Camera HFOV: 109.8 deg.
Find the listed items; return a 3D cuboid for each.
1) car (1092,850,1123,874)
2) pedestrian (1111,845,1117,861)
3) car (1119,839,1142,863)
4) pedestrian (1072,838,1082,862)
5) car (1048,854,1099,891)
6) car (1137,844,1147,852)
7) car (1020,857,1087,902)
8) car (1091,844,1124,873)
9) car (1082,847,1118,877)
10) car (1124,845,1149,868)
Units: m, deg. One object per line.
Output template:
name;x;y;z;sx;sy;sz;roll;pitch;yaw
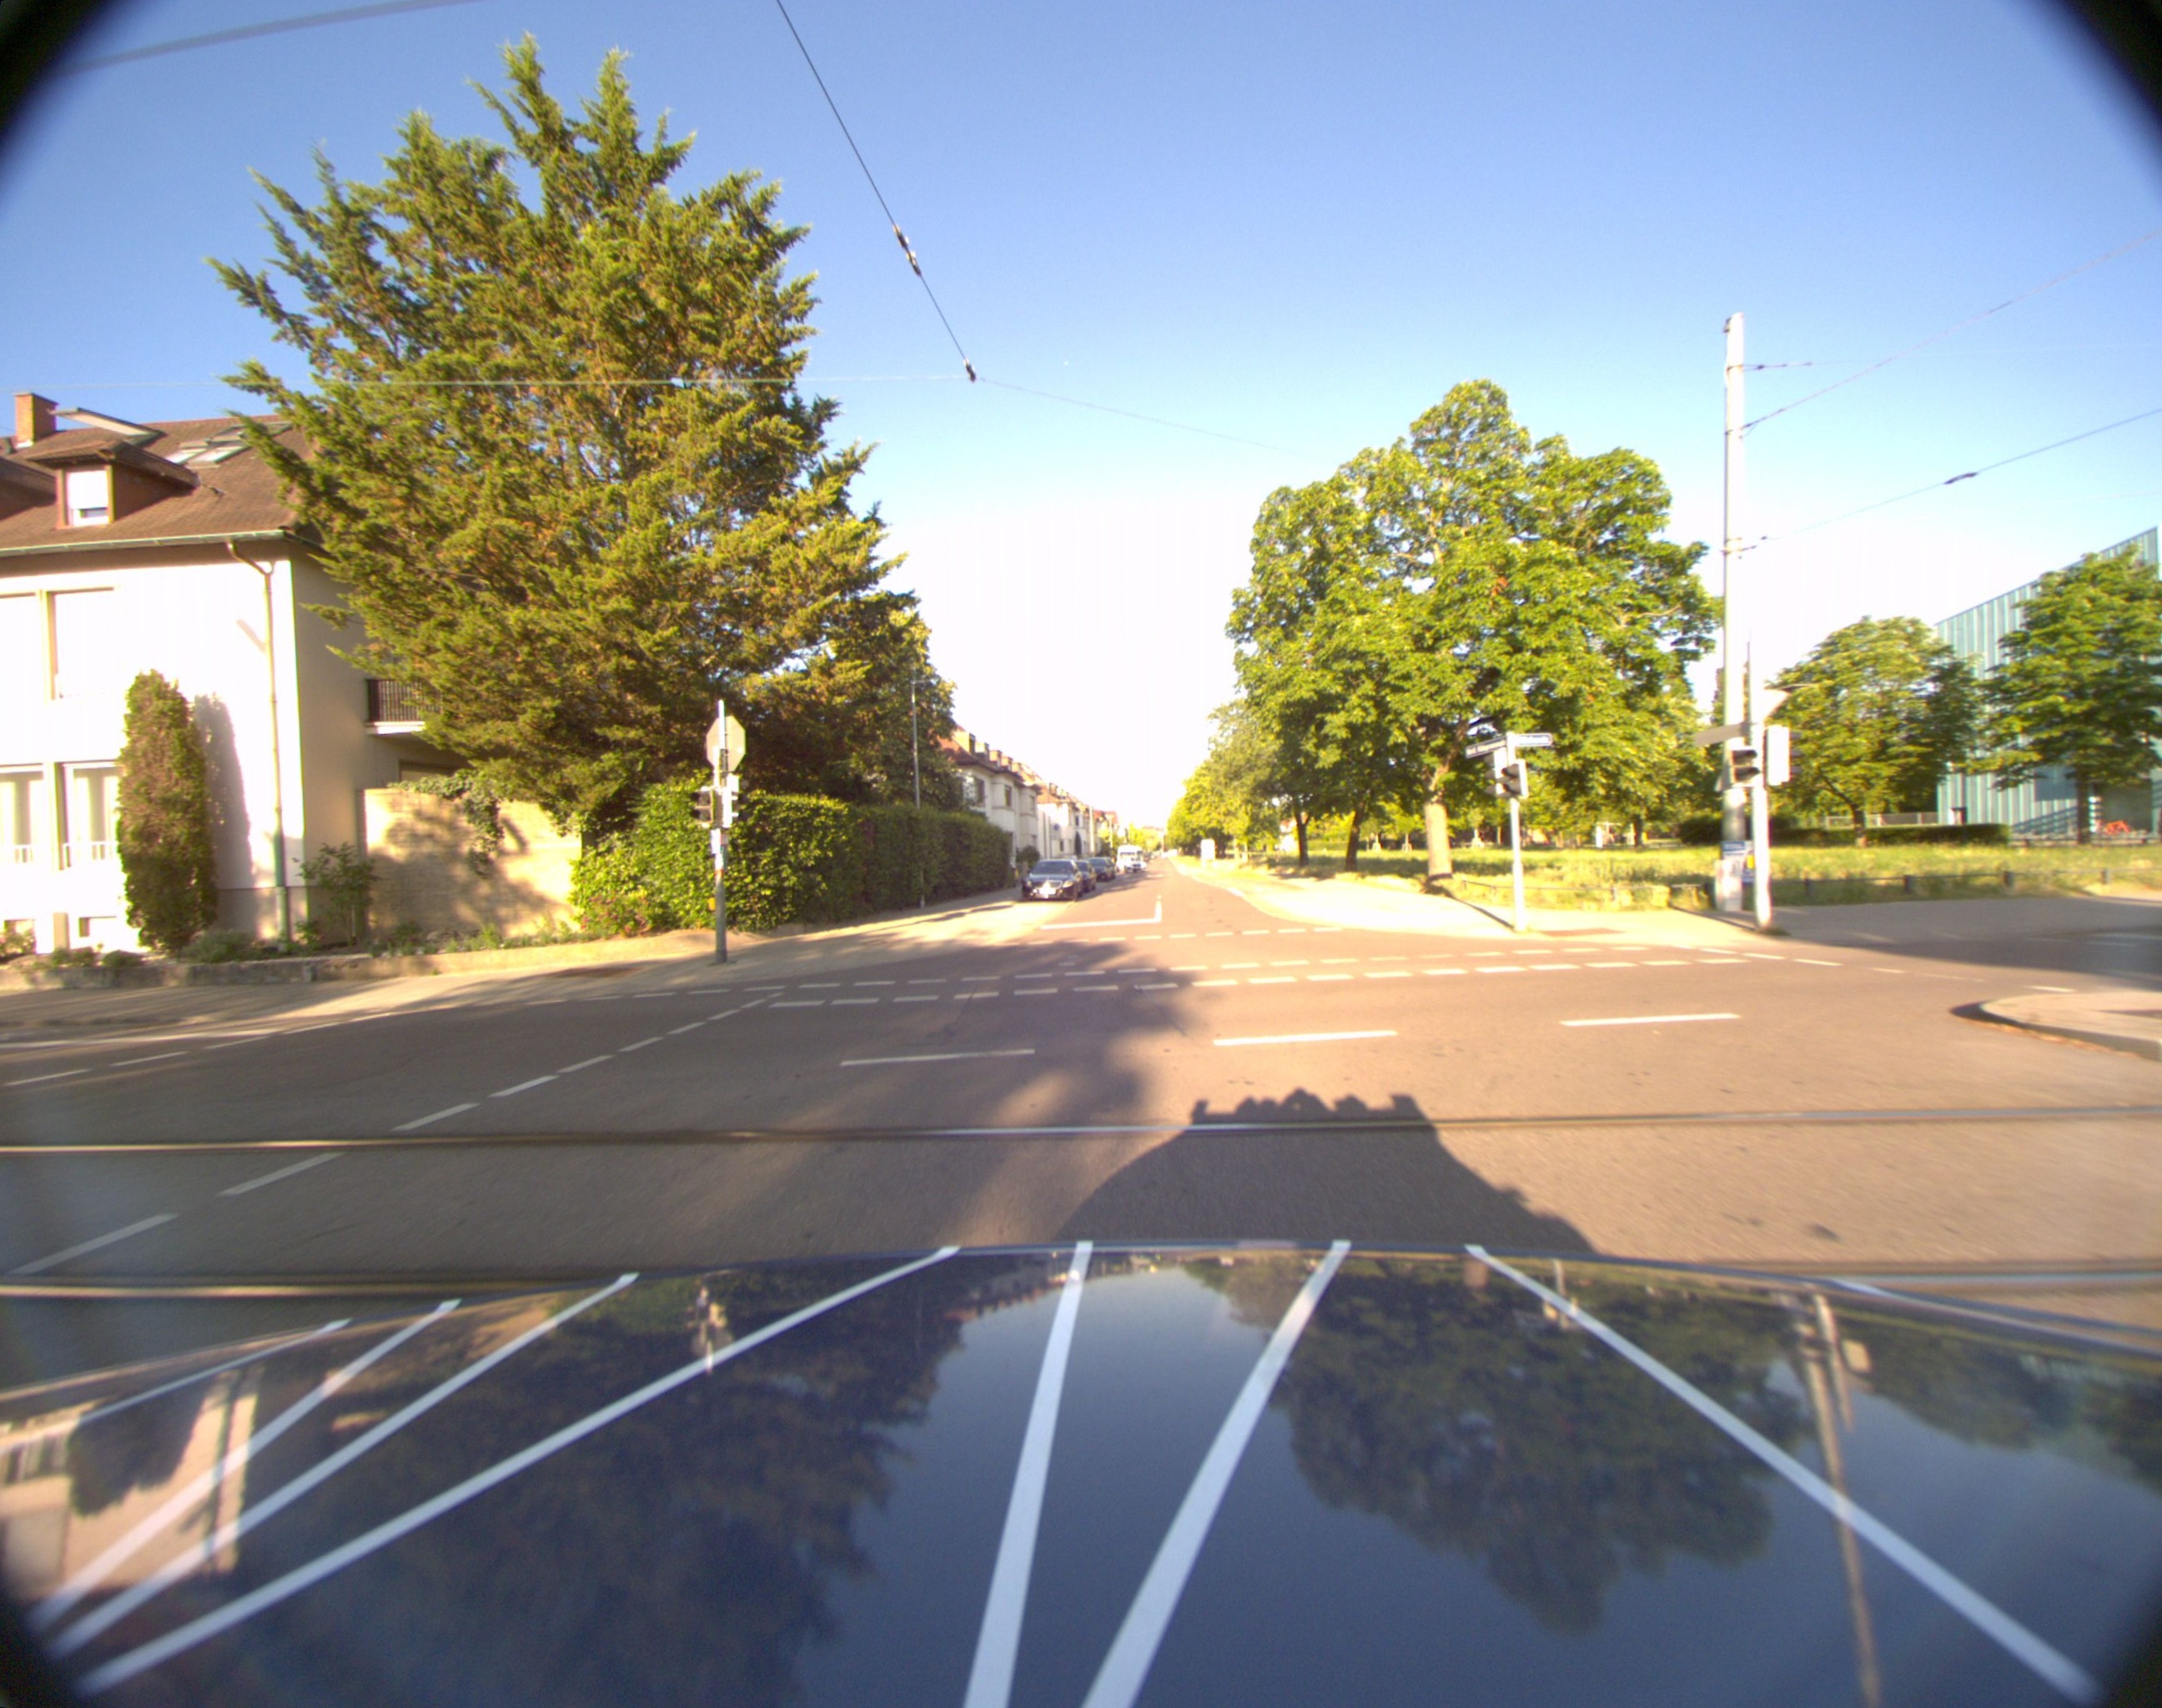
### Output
car;1.872;0.539;52.236;1.679;1.525;3.473;-4;-1;8
pedestrian;3.908;-0.145;89.042;0.530;1.788;0.589;-4;1;5
car;5.497;-0.360;84.293;2.131;2.461;5.726;-4;1;6
pedestrian;-0.337;-0.330;61.703;0.587;1.835;0.824;-4;1;8
car;-0.279;0.781;34.302;1.783;1.469;4.002;-4;0;6
car;11.240;-1.119;140.276;1.681;1.543;3.844;-1;0;5
car;-0.920;0.875;28.388;2.008;1.490;4.916;0;0;4
car;1.809;0.278;50.711;1.998;1.751;4.001;-4;0;4
car;1.217;0.477;46.197;1.795;1.586;4.079;-4;-1;6
car;4.921;0.170;66.796;1.998;1.775;4.001;-4;1;6
